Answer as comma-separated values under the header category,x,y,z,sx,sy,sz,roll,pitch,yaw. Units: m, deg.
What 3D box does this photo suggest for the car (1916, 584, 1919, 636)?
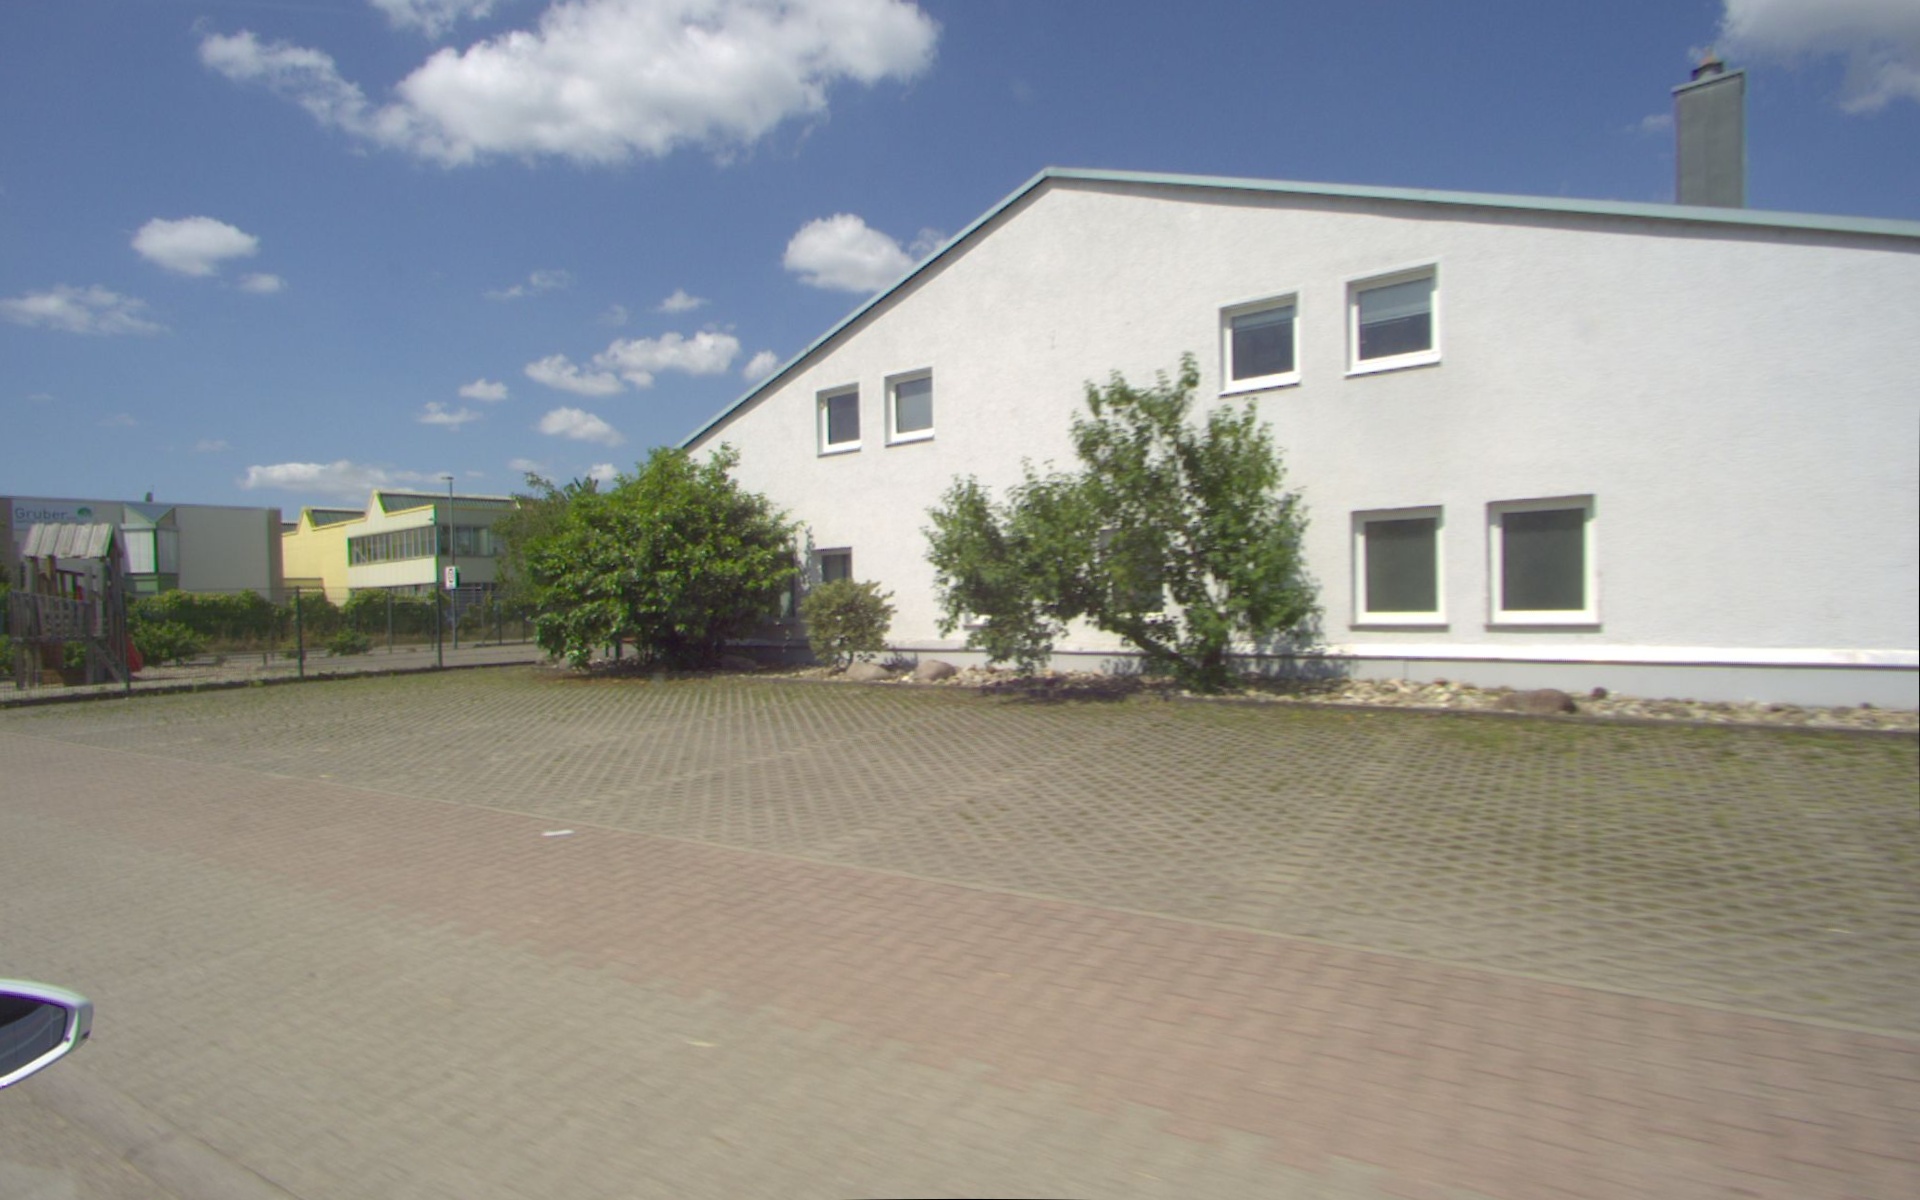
category,x,y,z,sx,sy,sz,roll,pitch,yaw
car,33.160,0.255,31.712,3.940,1.731,1.880,-3,0,39
